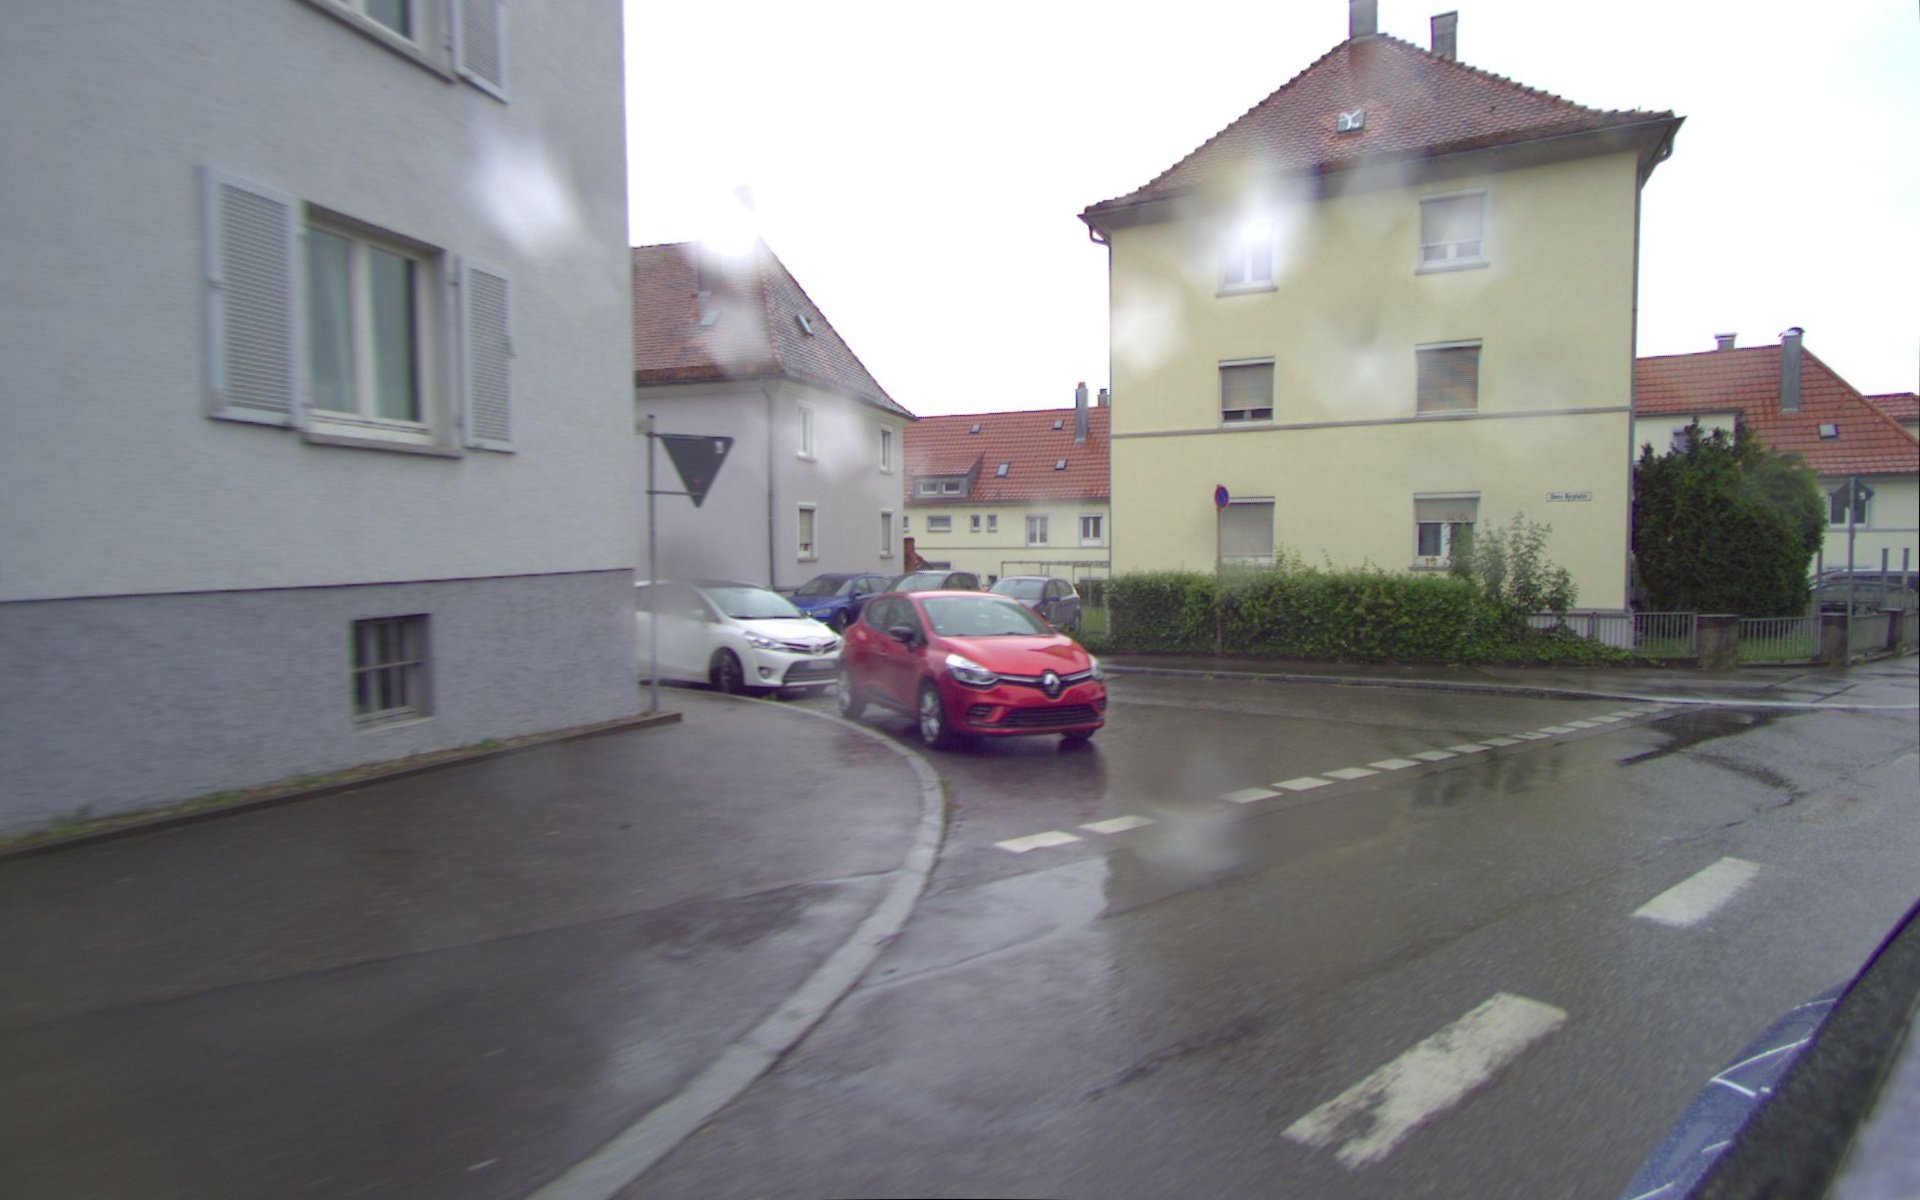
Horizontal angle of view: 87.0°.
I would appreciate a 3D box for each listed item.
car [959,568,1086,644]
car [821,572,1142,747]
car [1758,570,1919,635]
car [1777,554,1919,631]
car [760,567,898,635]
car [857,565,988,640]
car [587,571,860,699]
[{"bbox_3d":[1.478,0.051,22.416,1.704,1.462,3.945,1,3,22],"label":"car"},{"bbox_3d":[-0.015,0.481,10.483,1.689,1.425,4.100,1,0,-25],"label":"car"},{"bbox_3d":[22.556,0.046,25.480,3.491,1.355,1.674,4,5,26],"label":"car"},{"bbox_3d":[24.550,-0.206,26.986,3.899,1.802,1.755,5,5,27],"label":"car"},{"bbox_3d":[-3.065,-0.038,24.603,1.702,1.425,4.070,1,3,19],"label":"car"},{"bbox_3d":[-0.780,-0.007,23.311,1.704,1.518,3.657,1,3,22],"label":"car"},{"bbox_3d":[-3.541,0.424,14.753,4.220,1.609,1.699,1,0,40],"label":"car"}]
